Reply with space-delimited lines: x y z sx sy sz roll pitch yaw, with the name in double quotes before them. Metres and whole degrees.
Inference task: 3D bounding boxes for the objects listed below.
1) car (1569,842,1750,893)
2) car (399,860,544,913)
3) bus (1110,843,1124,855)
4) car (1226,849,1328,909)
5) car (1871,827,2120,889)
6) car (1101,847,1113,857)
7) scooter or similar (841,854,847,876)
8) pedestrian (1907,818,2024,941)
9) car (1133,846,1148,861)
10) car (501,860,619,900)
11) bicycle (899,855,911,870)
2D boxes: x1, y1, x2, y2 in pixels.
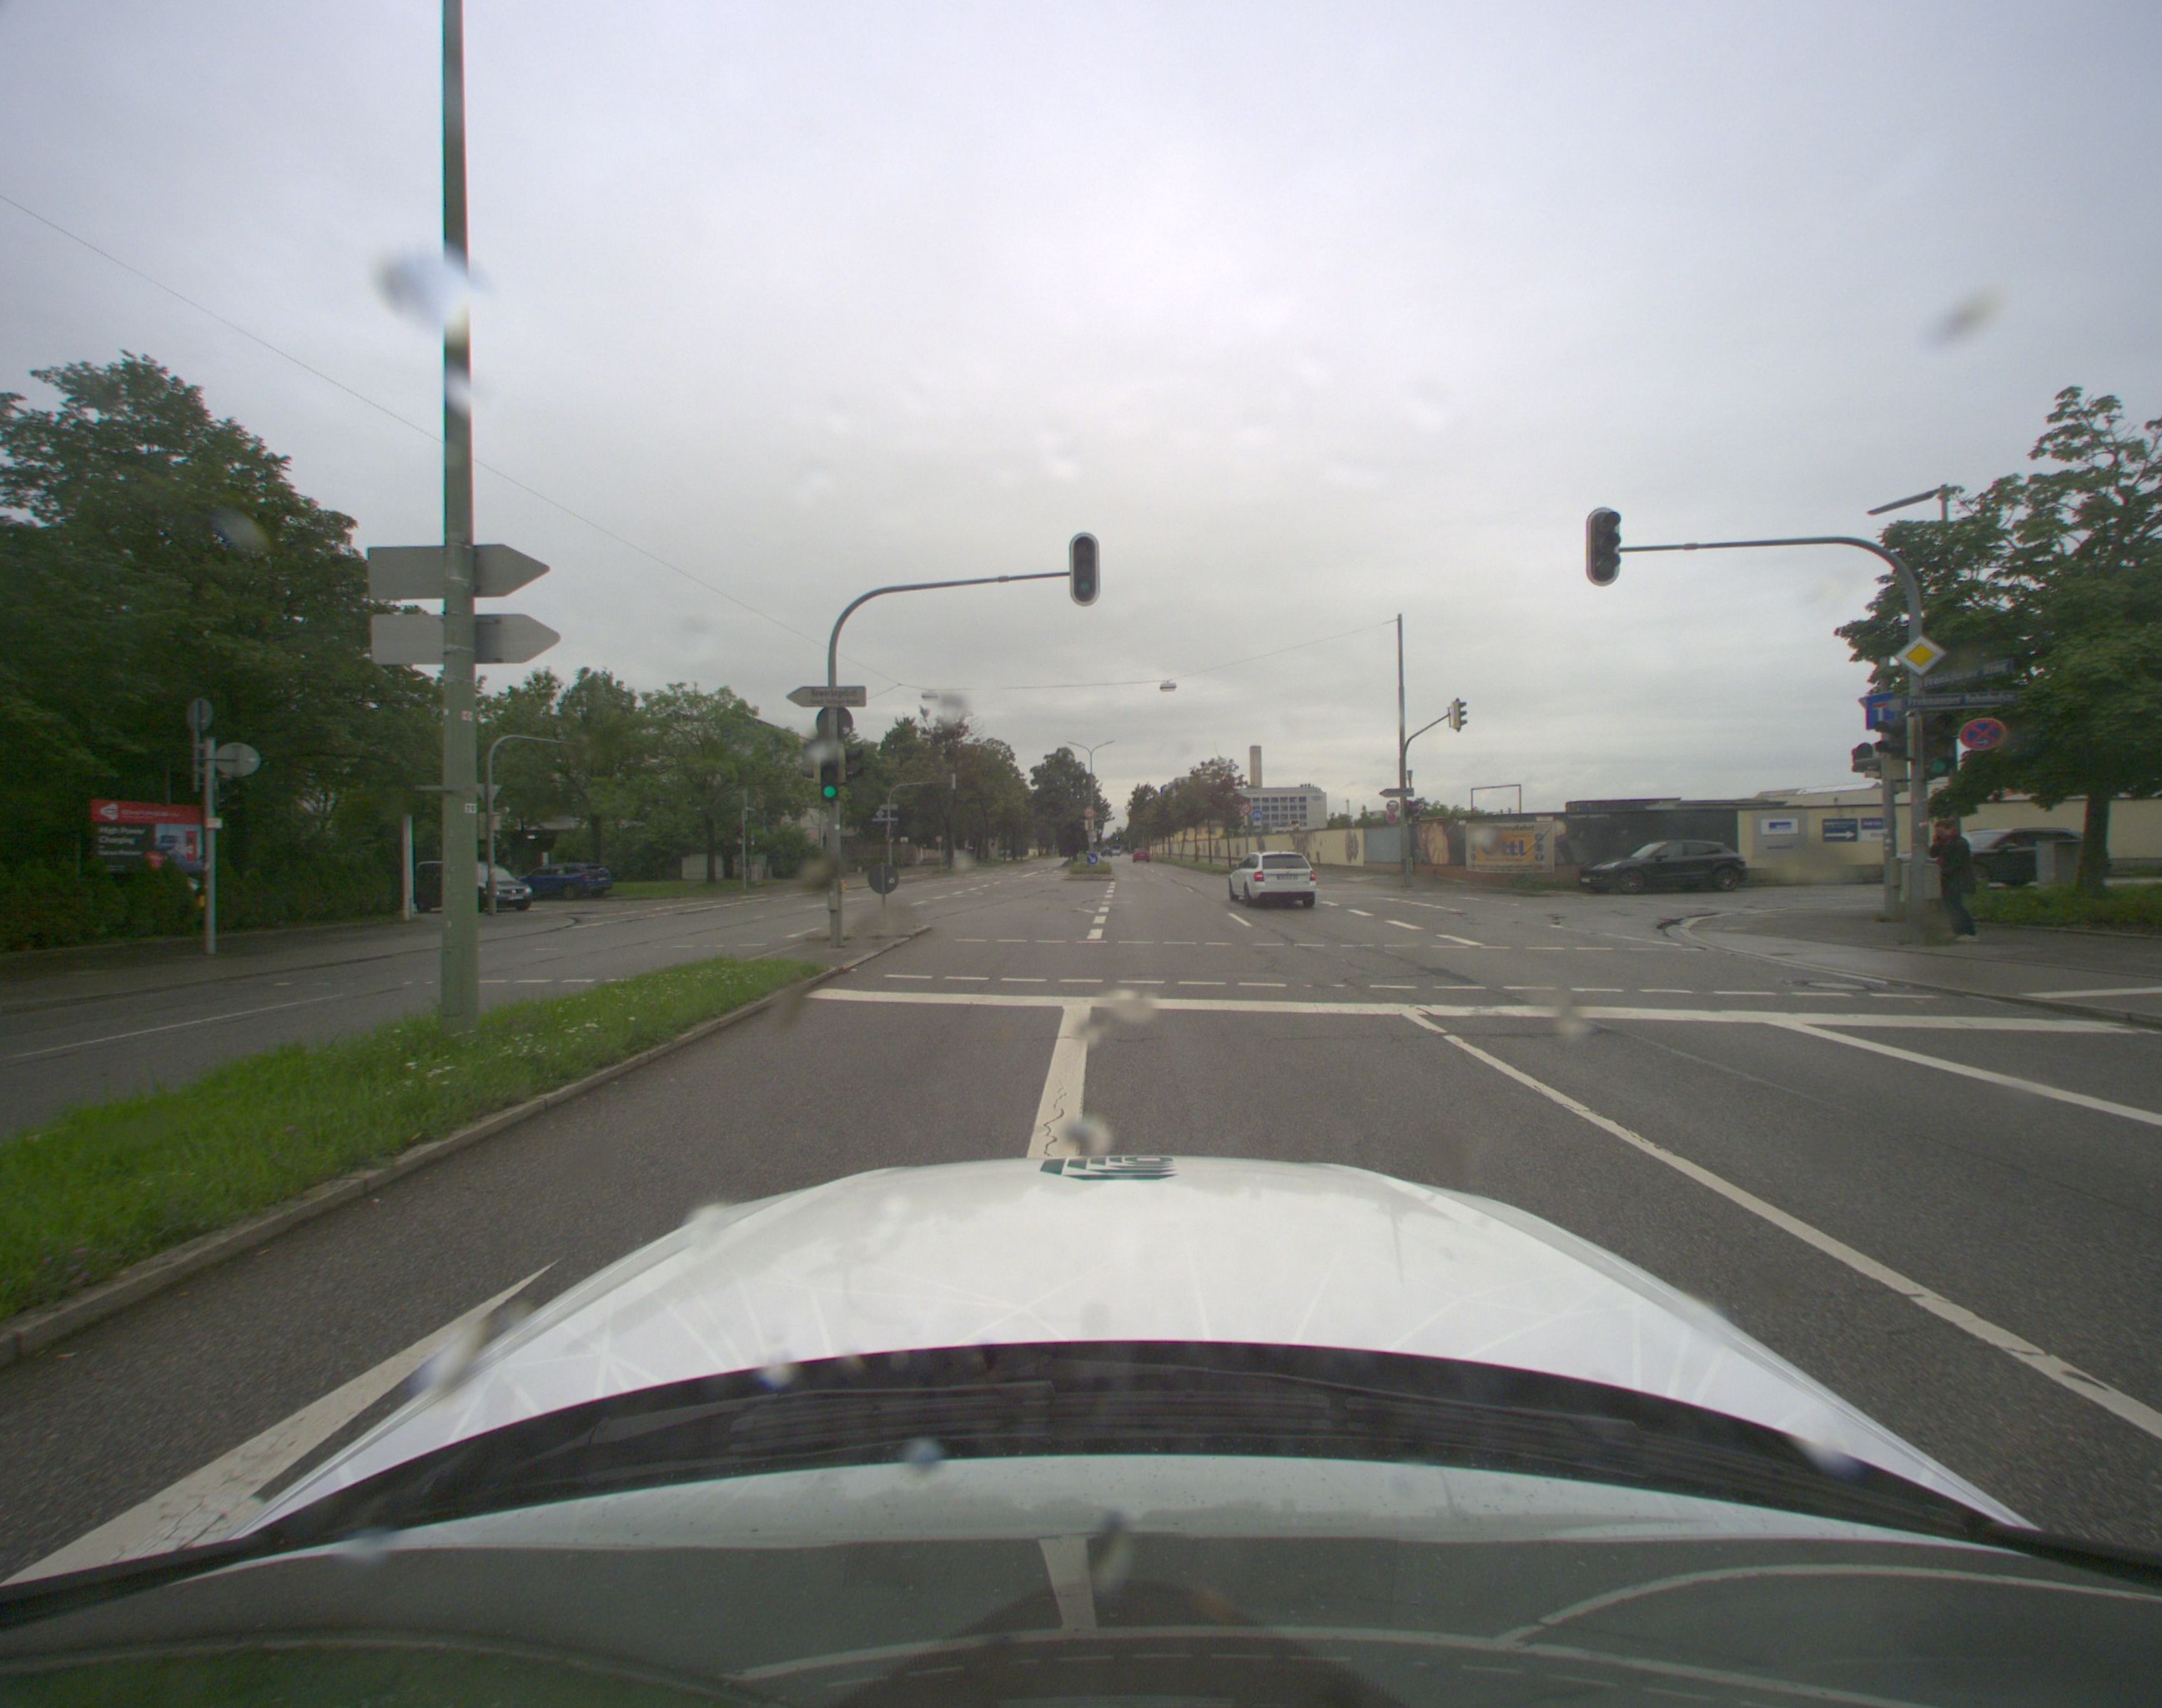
"car" 18.110 0.404 25.656 4.232 1.428 2.002 -2 0 3
"car" -21.697 1.169 28.995 4.732 1.723 2.011 -2 -1 23
"bus" 9.821 -1.323 223.587 3.210 3.127 10.344 0 0 0
"car" 5.236 0.603 22.346 1.870 1.468 4.505 0 0 2
"car" 25.648 0.097 22.992 4.597 1.532 2.002 -2 0 3
"car" 4.898 -0.429 153.557 2.077 1.866 4.386 0 0 0
"scooter or similar" -15.866 0.733 54.541 0.370 1.424 1.399 0 0 -14
"pedestrian" 12.336 0.346 11.379 0.799 1.615 0.687 -4 0 0
"car" 6.829 -0.090 94.292 1.479 1.715 3.551 0 0 0
"car" -23.958 1.200 37.552 4.242 1.574 2.006 -2 2 10
"bicycle" -15.959 0.766 73.881 0.580 1.295 2.453 0 0 -1
